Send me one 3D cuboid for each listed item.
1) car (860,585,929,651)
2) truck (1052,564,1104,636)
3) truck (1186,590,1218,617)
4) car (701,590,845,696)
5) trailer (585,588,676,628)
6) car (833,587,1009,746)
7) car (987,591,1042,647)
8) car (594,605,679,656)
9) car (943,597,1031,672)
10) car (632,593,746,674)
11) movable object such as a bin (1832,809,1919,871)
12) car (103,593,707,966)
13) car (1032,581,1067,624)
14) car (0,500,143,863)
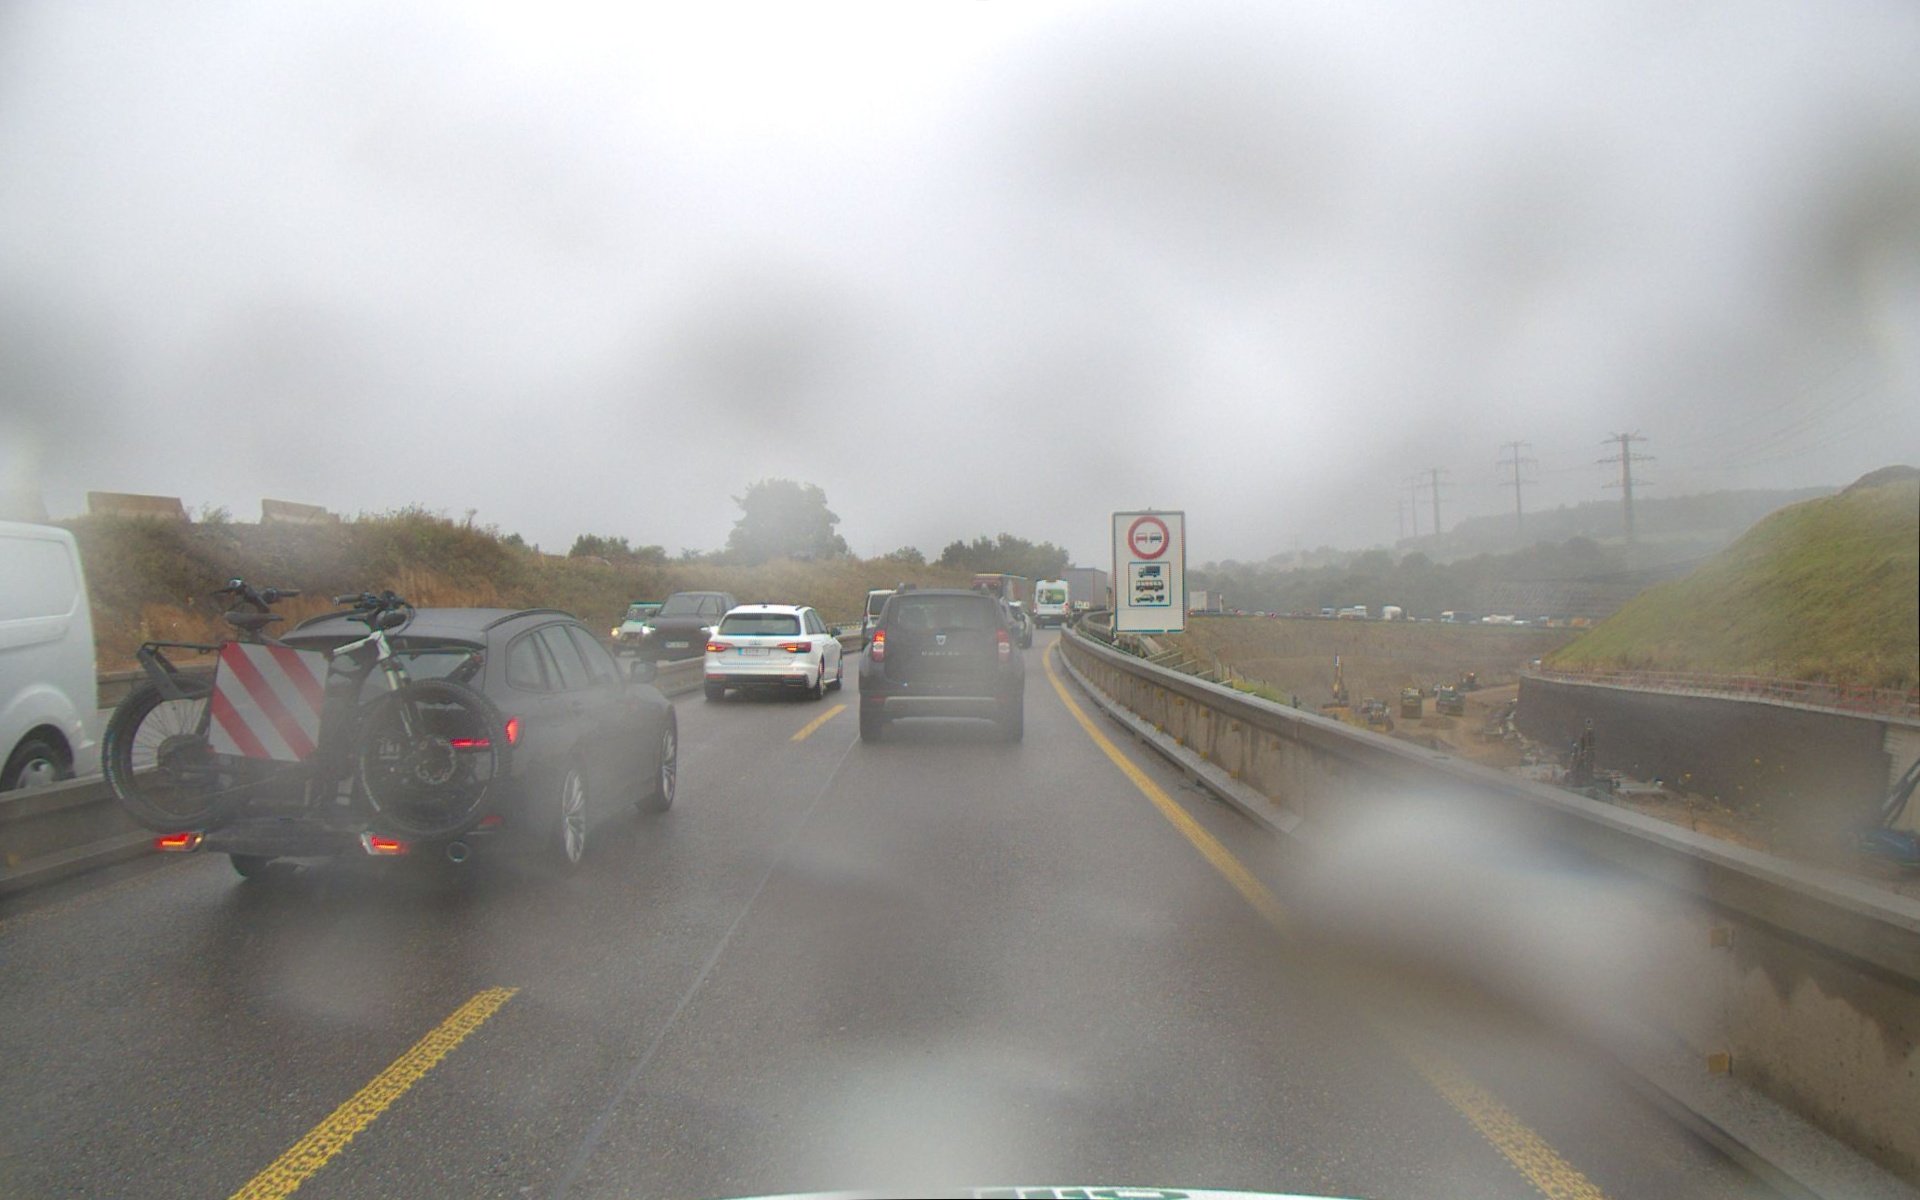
[{"bbox_3d":[-1.859,0.526,47.969,1.789,1.847,4.000,0,-1,1],"label":"car"},{"bbox_3d":[8.991,0.082,124.989,3.468,5.166,10.448,0,-1,6],"label":"truck"},{"bbox_3d":[34.789,0.452,237.546,3.399,3.780,8.422,-1,0,17],"label":"truck"},{"bbox_3d":[-2.861,0.654,26.066,1.789,1.525,4.000,0,-1,0],"label":"car"},{"bbox_3d":[-9.390,0.221,47.509,1.547,1.107,4.714,0,0,2],"label":"trailer"},{"bbox_3d":[-0.382,0.707,18.916,1.789,1.619,4.000,0,-1,0],"label":"car"},{"bbox_3d":[1.868,0.666,56.669,1.788,1.847,4.001,0,-1,2],"label":"car"},{"bbox_3d":[-9.263,0.840,47.605,1.547,1.407,4.001,0,0,2],"label":"car"},{"bbox_3d":[0.564,0.728,35.760,1.789,1.525,4.000,0,-1,0],"label":"car"},{"bbox_3d":[-5.995,0.692,37.006,1.785,1.668,4.484,0,0,0],"label":"car"},{"bbox_3d":[35.893,9.221,63.559,1.979,2.049,3.789,4,-4,-37],"label":"movable object such as a bin"},{"bbox_3d":[-2.818,0.762,9.943,1.699,1.488,5.630,0,1,0],"label":"car"},{"bbox_3d":[5.281,0.157,97.154,1.787,2.480,4.160,0,-1,6],"label":"car"},{"bbox_3d":[-6.342,0.460,8.414,1.953,2.034,4.968,0,1,-1],"label":"car"}]
